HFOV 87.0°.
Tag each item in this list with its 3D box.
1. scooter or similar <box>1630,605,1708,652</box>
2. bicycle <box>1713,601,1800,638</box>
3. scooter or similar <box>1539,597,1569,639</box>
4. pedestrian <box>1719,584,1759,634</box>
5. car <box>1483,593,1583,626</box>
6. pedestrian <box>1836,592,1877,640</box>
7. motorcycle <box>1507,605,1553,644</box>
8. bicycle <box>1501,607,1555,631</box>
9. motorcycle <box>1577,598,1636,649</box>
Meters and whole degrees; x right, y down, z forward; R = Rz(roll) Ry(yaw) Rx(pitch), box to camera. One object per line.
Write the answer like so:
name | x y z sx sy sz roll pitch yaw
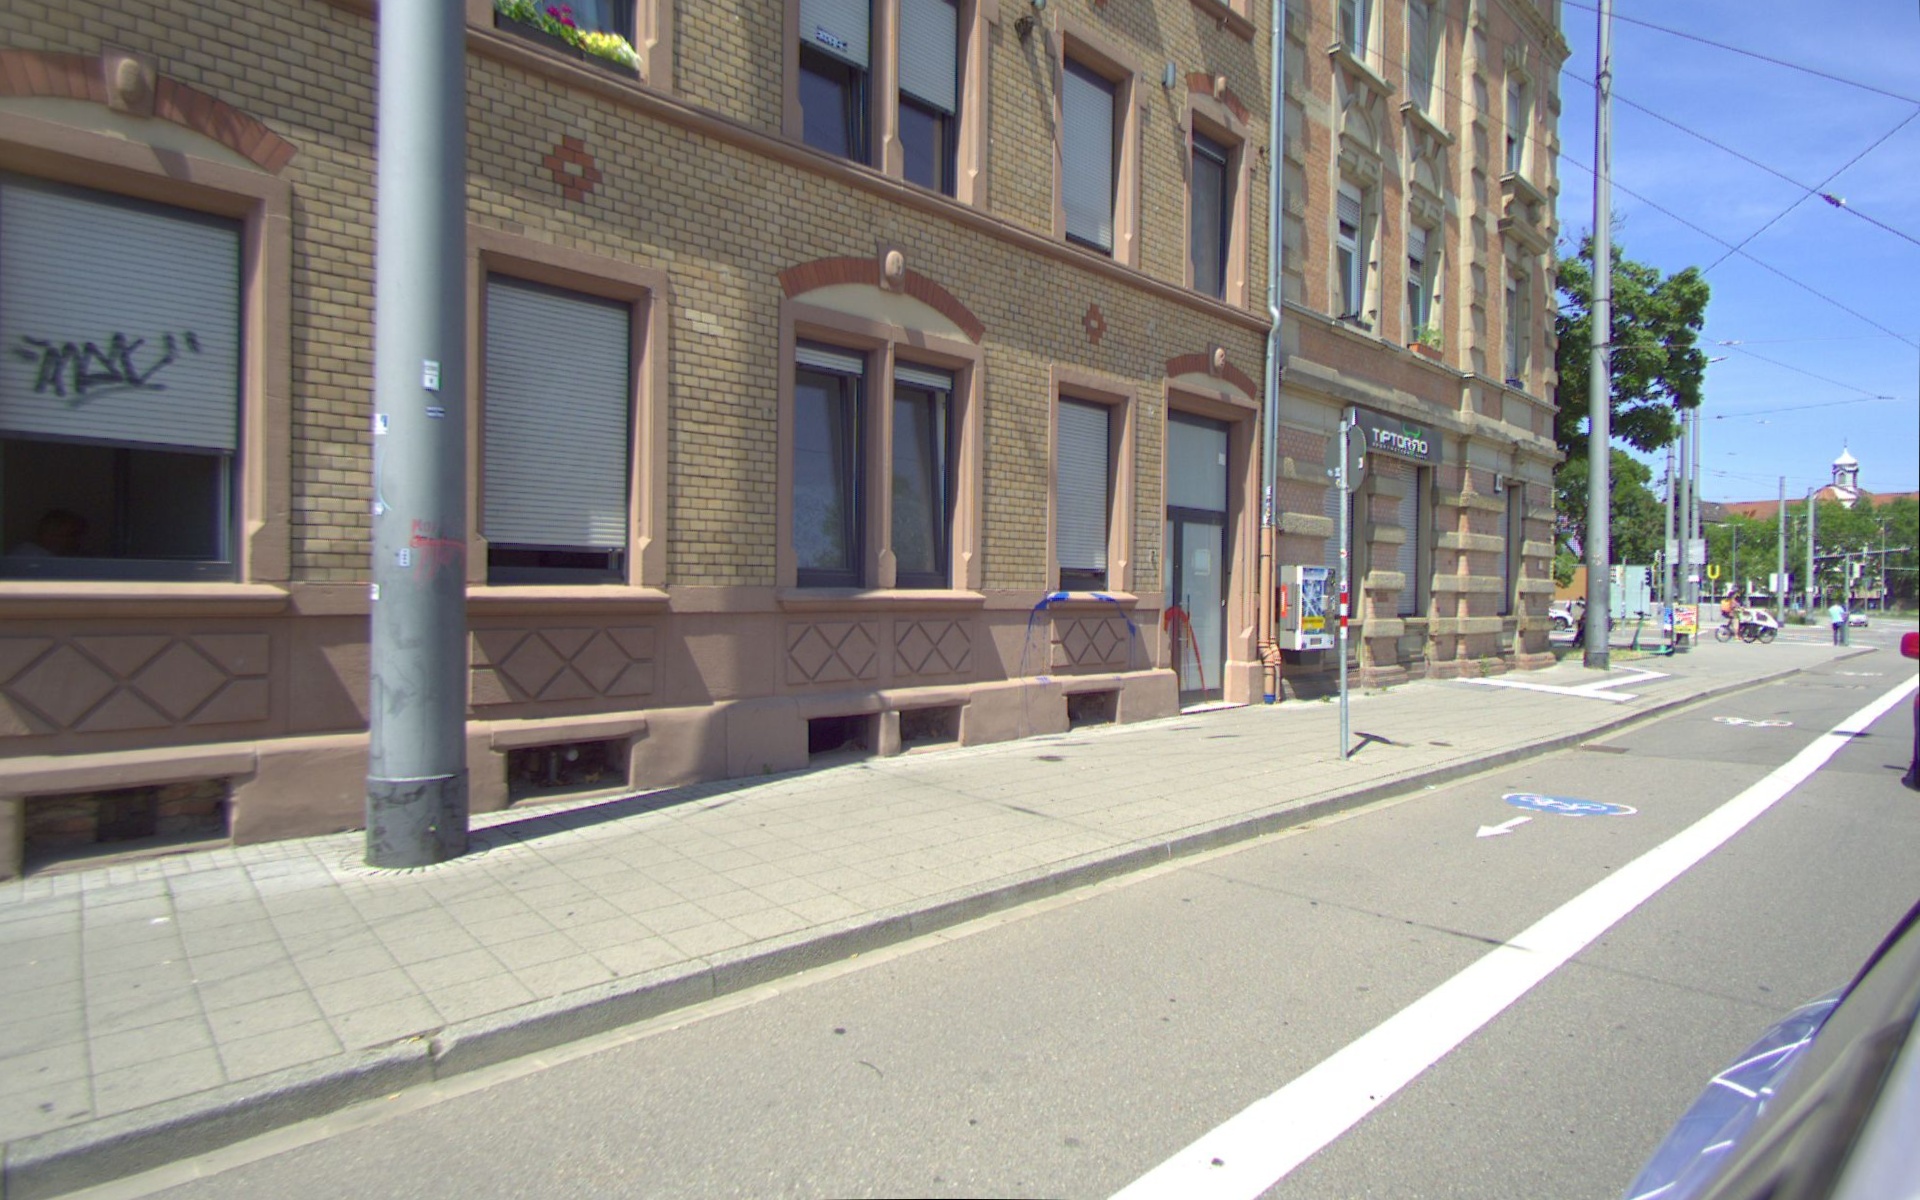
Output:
scooter or similar | 18.444 0.739 26.362 1.506 1.170 0.710 1 0 20
bicycle | 28.490 0.689 36.231 2.181 1.266 1.098 1 0 4
scooter or similar | 17.148 0.507 29.212 0.599 1.166 1.361 0 1 38
pedestrian | 27.875 0.312 36.218 0.810 1.797 0.813 0 0 4
car | 29.317 0.466 51.880 4.108 1.625 1.703 1 0 10
pedestrian | 34.126 0.584 38.524 0.856 1.802 0.811 0 0 -10
motorcycle | 17.183 0.722 30.482 1.717 1.110 0.692 0 1 -42
bicycle | 26.013 0.861 46.379 1.989 1.018 0.723 1 0 13
motorcycle | 18.436 0.645 28.830 2.551 1.379 0.765 0 1 -42
